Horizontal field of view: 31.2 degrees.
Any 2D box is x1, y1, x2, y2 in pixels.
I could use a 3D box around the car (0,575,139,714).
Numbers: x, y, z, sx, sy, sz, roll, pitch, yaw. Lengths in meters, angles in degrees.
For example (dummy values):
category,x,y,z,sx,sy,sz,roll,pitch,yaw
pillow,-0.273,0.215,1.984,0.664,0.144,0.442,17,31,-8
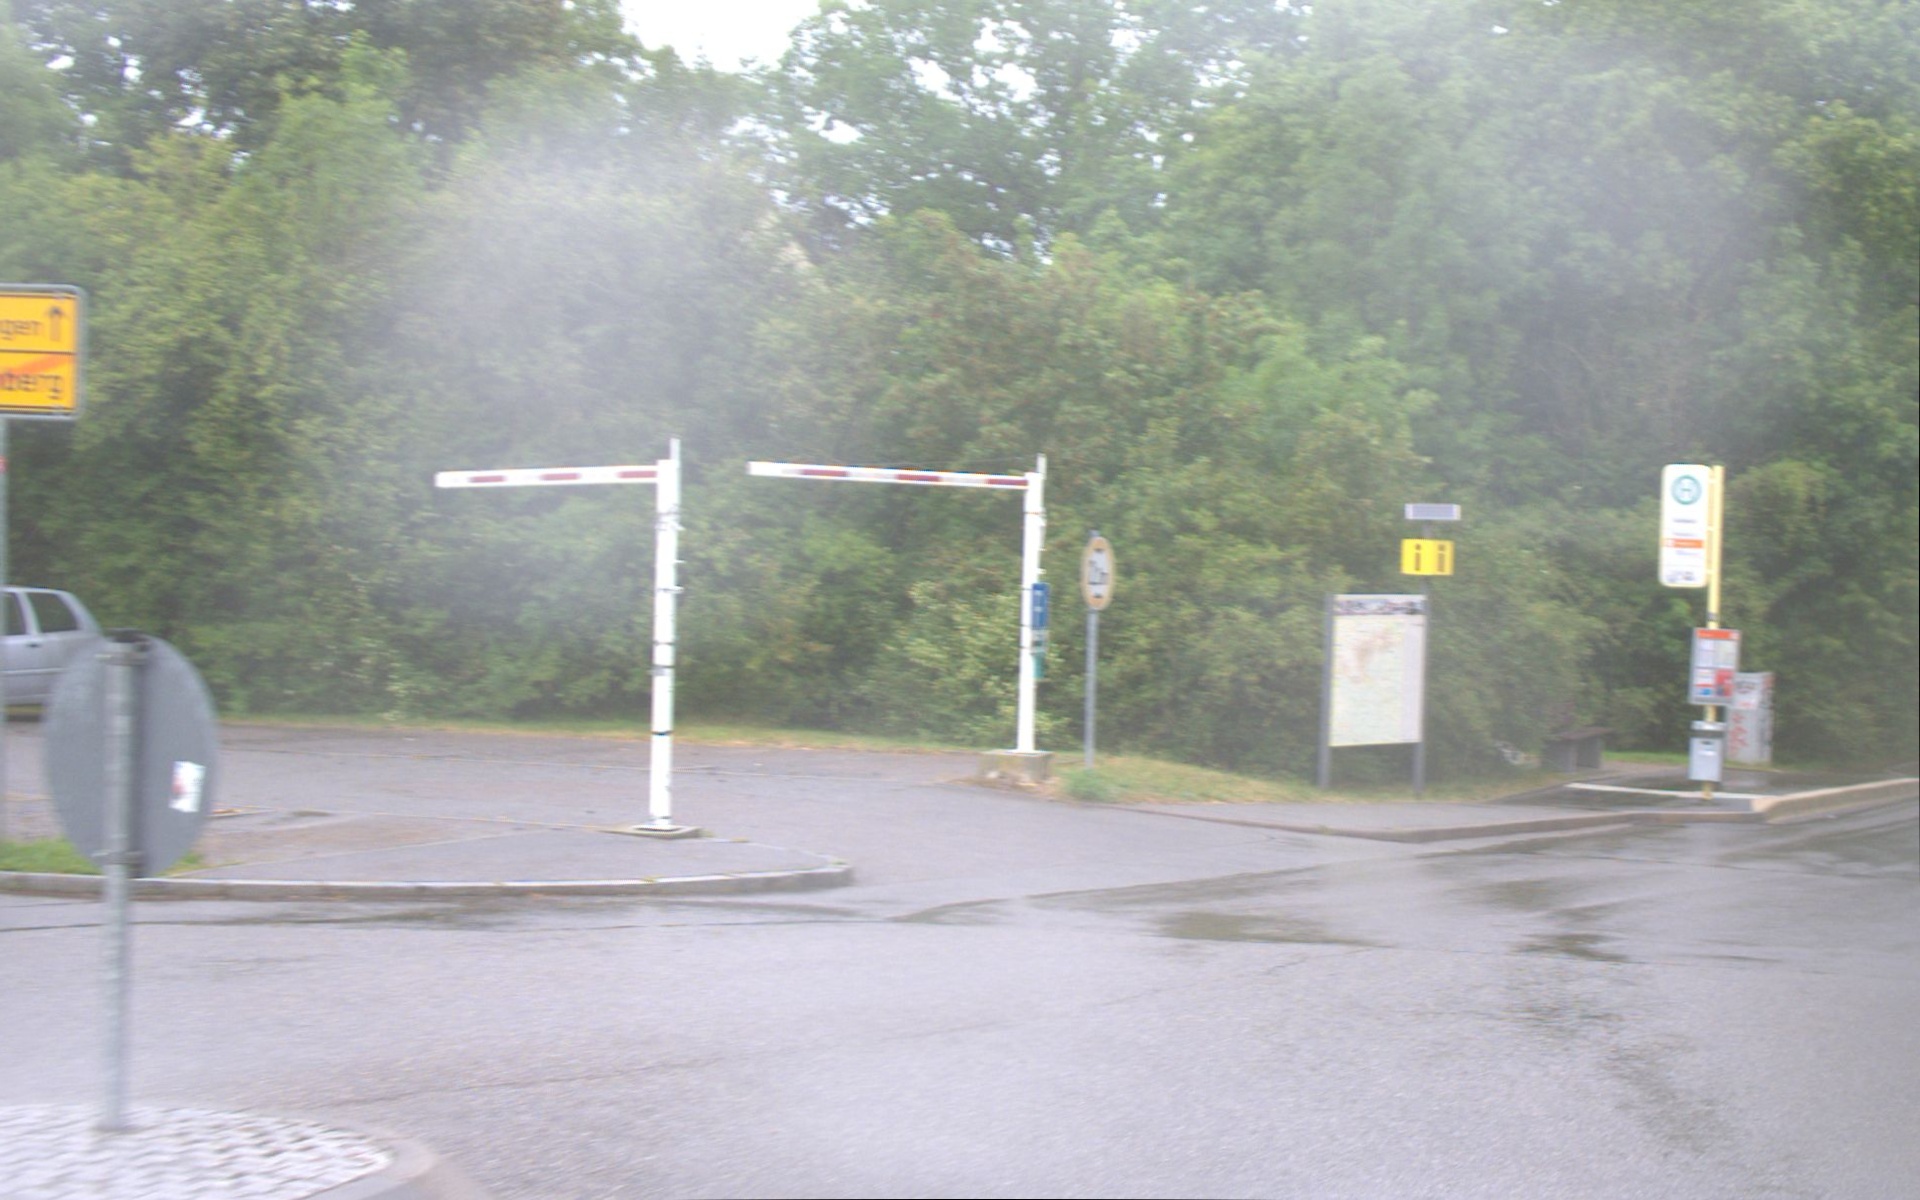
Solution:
category,x,y,z,sx,sy,sz,roll,pitch,yaw
car,-10.065,0.419,34.351,1.603,1.351,4.118,2,0,20
